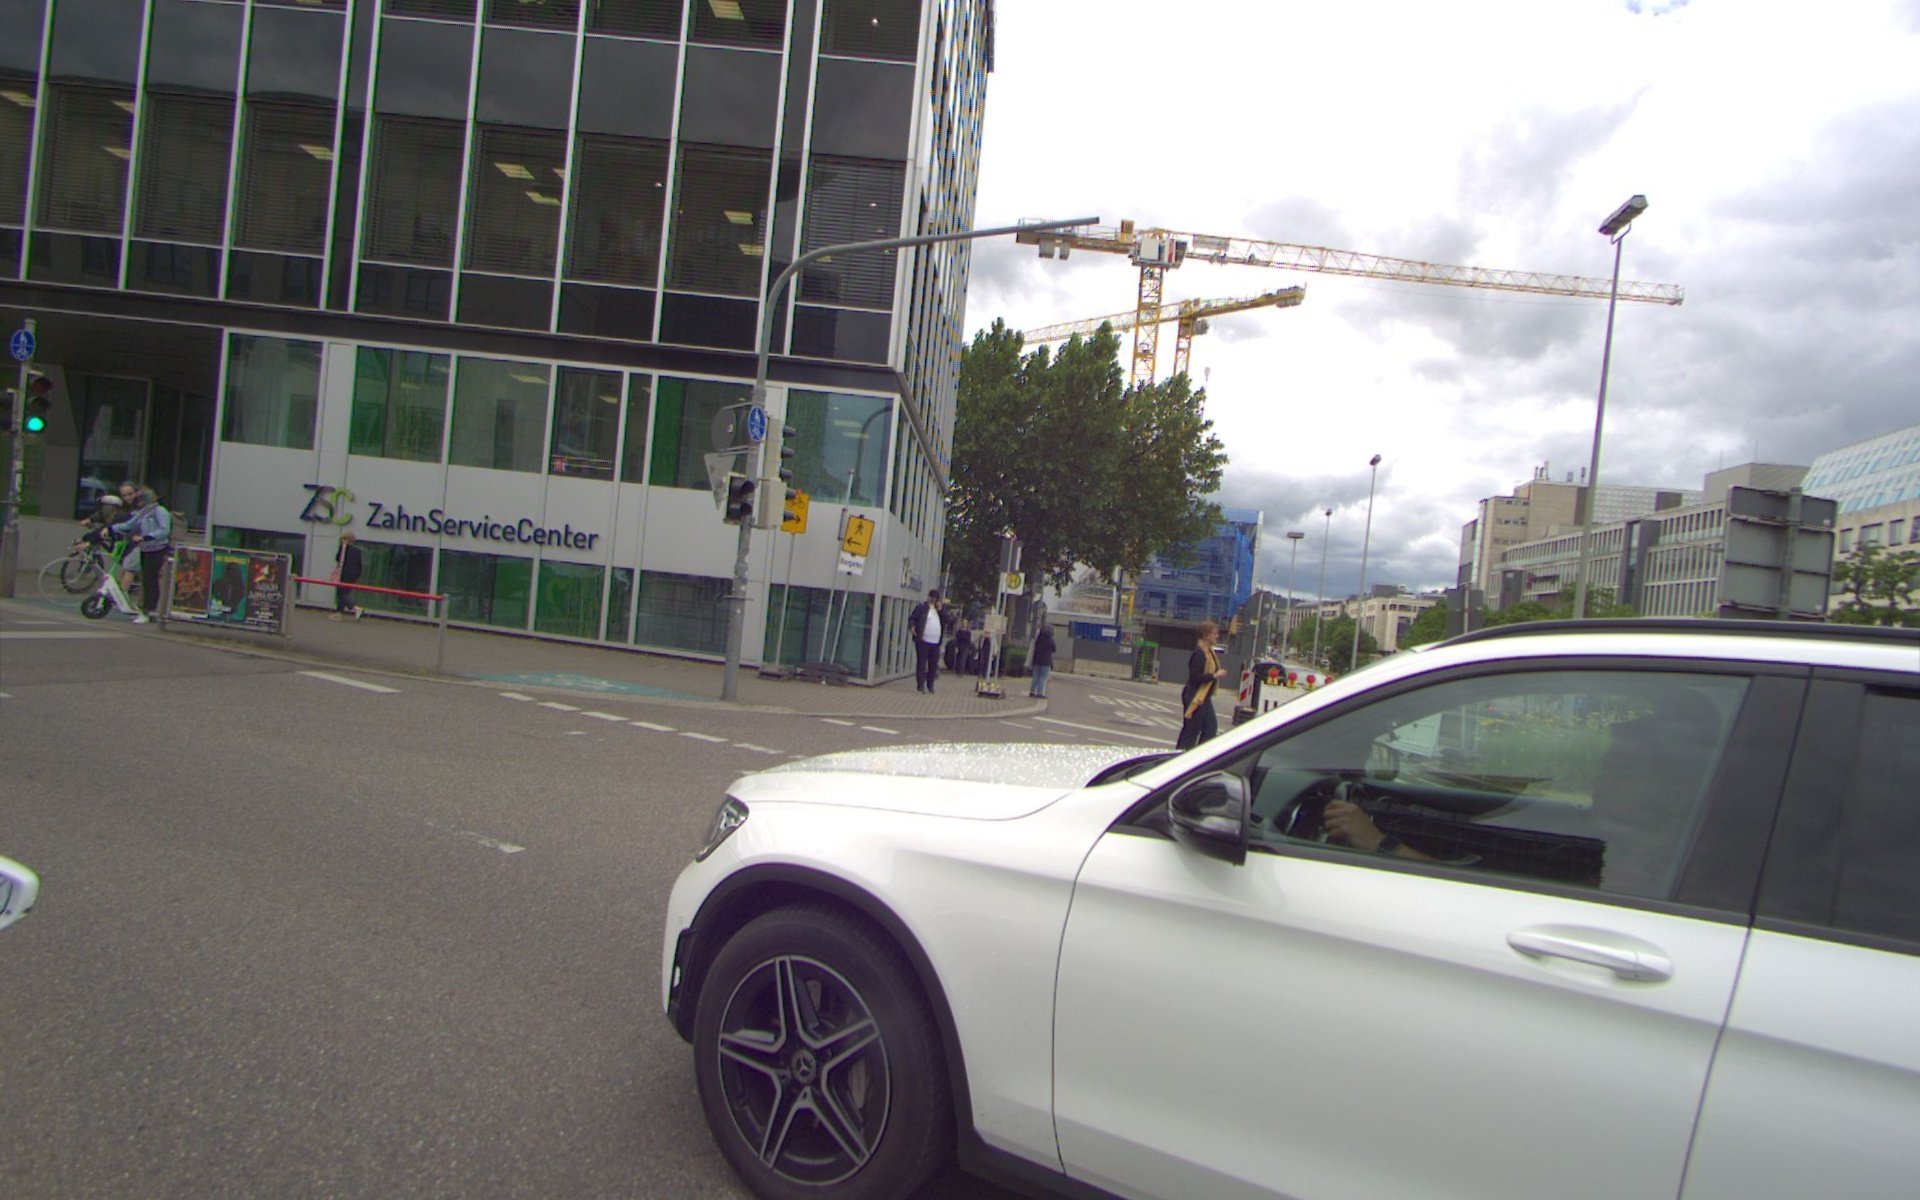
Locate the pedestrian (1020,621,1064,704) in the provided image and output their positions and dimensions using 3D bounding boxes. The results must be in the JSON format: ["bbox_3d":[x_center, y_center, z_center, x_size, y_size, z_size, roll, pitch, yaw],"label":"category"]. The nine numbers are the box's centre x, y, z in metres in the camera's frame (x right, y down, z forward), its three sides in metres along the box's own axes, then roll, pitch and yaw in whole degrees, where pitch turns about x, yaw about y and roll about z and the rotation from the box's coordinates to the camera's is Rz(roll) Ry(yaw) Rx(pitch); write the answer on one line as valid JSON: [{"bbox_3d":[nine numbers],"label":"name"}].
[{"bbox_3d":[1.791,1.357,21.896,0.625,1.699,0.590,7,1,22],"label":"pedestrian"}]

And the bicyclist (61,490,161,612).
[{"bbox_3d":[-11.769,-0.666,13.967,0.834,1.569,0.562,5,2,-22],"label":"bicyclist"}]

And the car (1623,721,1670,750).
[{"bbox_3d":[54.638,10.747,80.138,1.963,1.655,3.998,7,1,21],"label":"car"}]

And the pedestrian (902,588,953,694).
[{"bbox_3d":[-0.571,0.709,17.590,0.626,1.770,0.590,7,1,-9],"label":"pedestrian"}]

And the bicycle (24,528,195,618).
[{"bbox_3d":[-11.779,-0.364,13.985,1.647,1.040,0.578,6,1,-22],"label":"bicycle"}]

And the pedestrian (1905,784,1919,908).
[{"bbox_3d":[8.408,1.645,8.150,0.691,1.885,0.667,7,0,-14],"label":"pedestrian"}]

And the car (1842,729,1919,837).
[{"bbox_3d":[15.412,2.903,14.267,1.808,1.484,3.993,7,-1,-11],"label":"car"}]

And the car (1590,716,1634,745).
[{"bbox_3d":[51.782,10.378,79.961,1.963,1.655,3.998,7,1,21],"label":"car"}]

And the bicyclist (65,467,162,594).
[{"bbox_3d":[-13.366,-1.079,15.893,0.662,1.870,0.813,8,3,15],"label":"bicyclist"}]

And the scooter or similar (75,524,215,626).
[{"bbox_3d":[-10.684,-0.321,13.239,1.311,1.191,0.587,6,1,-35],"label":"scooter or similar"}]

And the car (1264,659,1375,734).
[{"bbox_3d":[10.023,2.640,28.357,1.962,1.595,3.812,7,0,7],"label":"car"}]

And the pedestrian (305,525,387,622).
[{"bbox_3d":[-10.026,-0.422,16.446,0.823,1.461,0.606,7,2,3],"label":"pedestrian"}]

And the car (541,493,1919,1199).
[{"bbox_3d":[1.184,0.814,2.463,4.261,1.667,1.803,7,1,31],"label":"car"}]

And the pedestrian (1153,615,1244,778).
[{"bbox_3d":[2.697,1.074,11.447,0.539,1.719,0.800,6,1,-11],"label":"pedestrian"}]

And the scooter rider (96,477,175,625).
[{"bbox_3d":[-10.762,-0.633,13.147,0.637,1.832,0.587,5,2,-34],"label":"scooter rider"}]

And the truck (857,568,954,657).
[{"bbox_3d":[-2.090,0.615,41.760,2.301,3.100,8.207,7,-1,7],"label":"truck"}]

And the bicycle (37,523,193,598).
[{"bbox_3d":[-13.405,-0.601,16.033,0.668,1.020,1.767,9,2,15],"label":"bicycle"}]

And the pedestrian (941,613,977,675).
[{"bbox_3d":[-0.034,1.318,30.479,0.858,1.768,0.847,7,1,-1],"label":"pedestrian"}]

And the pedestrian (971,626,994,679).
[{"bbox_3d":[0.677,1.594,30.564,0.508,1.553,0.553,7,1,-1],"label":"pedestrian"}]
